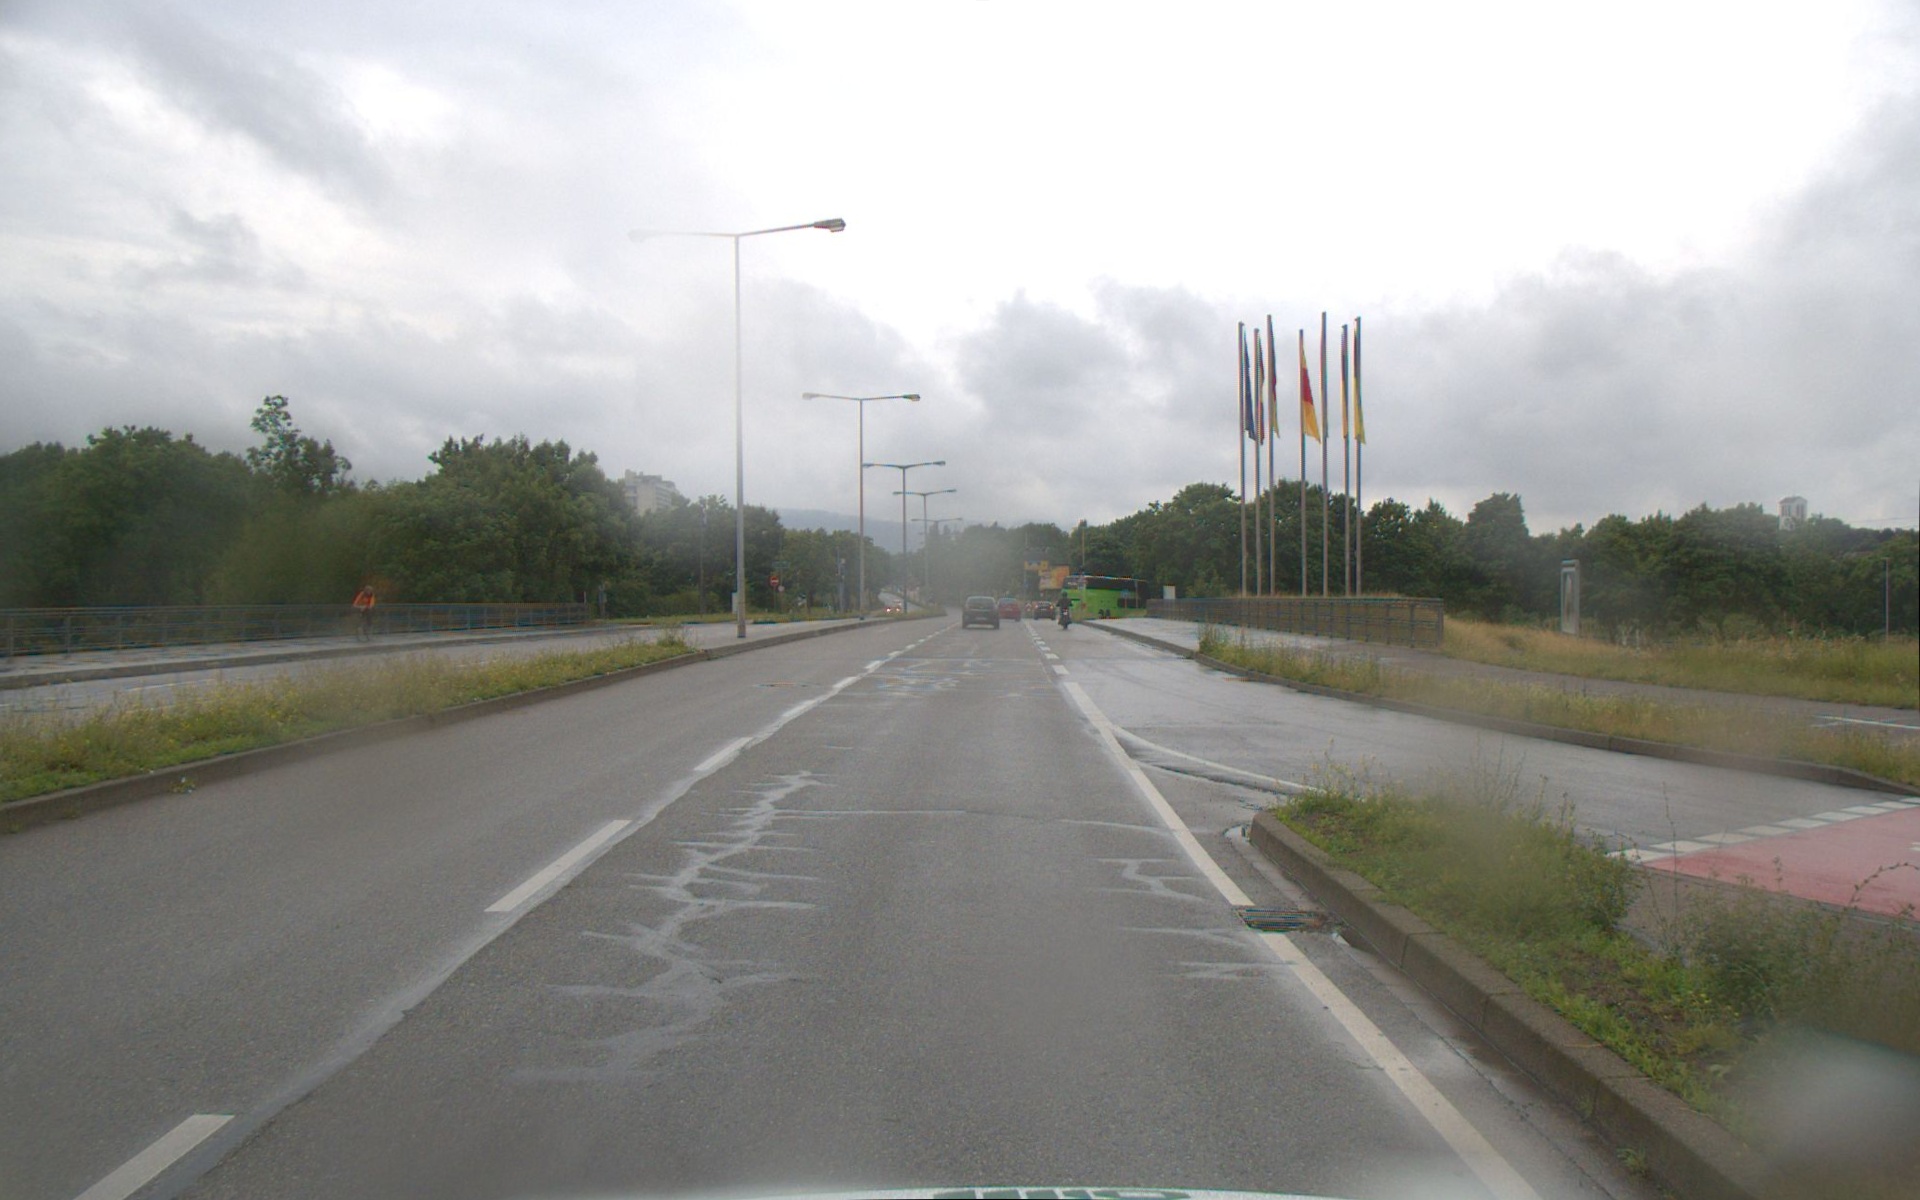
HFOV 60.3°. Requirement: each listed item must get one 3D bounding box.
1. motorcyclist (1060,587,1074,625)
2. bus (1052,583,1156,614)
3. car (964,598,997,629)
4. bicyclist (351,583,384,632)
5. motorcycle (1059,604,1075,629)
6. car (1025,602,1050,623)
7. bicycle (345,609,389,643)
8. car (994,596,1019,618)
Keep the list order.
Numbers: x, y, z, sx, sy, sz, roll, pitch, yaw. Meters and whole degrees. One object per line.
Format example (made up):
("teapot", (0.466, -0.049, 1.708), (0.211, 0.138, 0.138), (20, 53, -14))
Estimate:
("motorcyclist", (4.869, 0.267, 75.390), (0.589, 1.719, 0.860), (1, 0, 0))
("bus", (13.712, -0.102, 155.696), (2.708, 2.726, 14.535), (1, 0, 36))
("car", (0.912, 0.595, 74.439), (1.433, 1.352, 3.758), (1, 0, 0))
("bicyclist", (-18.606, 0.230, 51.937), (0.607, 1.526, 1.003), (1, 0, 1))
("motorcycle", (4.870, 0.737, 75.409), (0.589, 1.112, 1.732), (1, 0, 0))
("car", (6.374, 1.022, 135.872), (1.817, 1.646, 3.999), (1, 0, -1))
("bicycle", (-18.617, 0.802, 51.930), (0.597, 1.051, 2.001), (1, 0, 1))
("car", (2.935, 0.412, 104.847), (1.433, 1.352, 3.758), (1, 0, 0))
